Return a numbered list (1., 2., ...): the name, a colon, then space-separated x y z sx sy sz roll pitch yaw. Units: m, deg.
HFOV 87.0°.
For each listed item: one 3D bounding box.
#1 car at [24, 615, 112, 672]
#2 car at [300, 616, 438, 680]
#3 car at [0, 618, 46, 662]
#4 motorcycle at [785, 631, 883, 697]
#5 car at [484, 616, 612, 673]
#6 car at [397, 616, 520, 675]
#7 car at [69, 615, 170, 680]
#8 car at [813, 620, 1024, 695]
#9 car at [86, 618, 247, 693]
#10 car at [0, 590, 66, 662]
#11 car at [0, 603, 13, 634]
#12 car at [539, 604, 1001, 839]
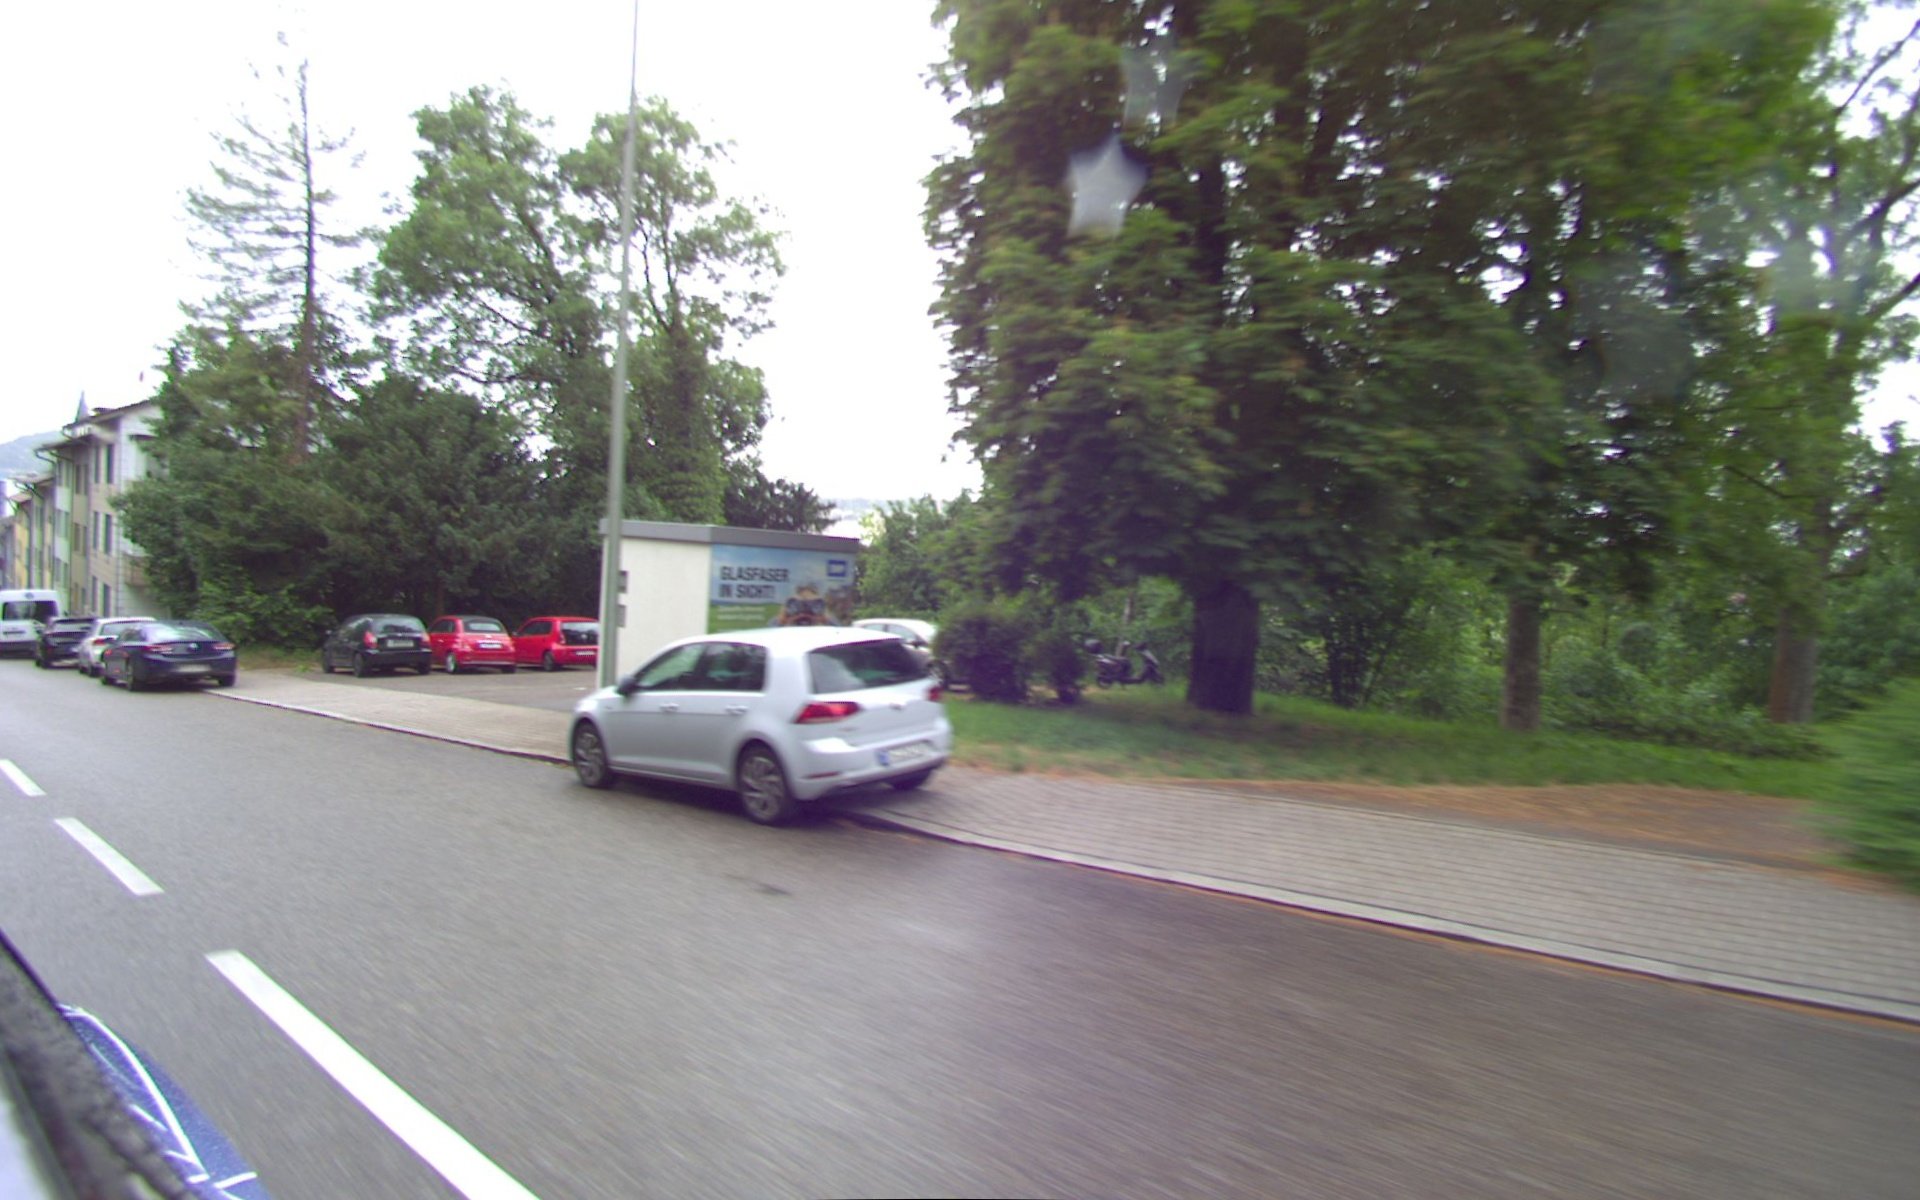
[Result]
1. car: -27.132 1.305 30.741 4.187 1.616 1.626 -1 -4 44
2. car: -14.883 1.144 25.407 4.395 1.470 1.704 -1 -2 42
3. car: -40.131 1.651 42.564 4.883 1.753 1.945 -1 -4 42
4. motorcycle: -2.477 1.217 19.693 2.278 1.198 0.593 -1 -2 44
5. car: -11.533 1.199 28.216 4.240 1.470 1.578 -1 -2 42
6. car: -13.307 1.156 26.787 3.773 1.470 1.604 -1 -2 42
7. car: -22.490 1.230 27.030 4.149 1.581 1.637 -1 -2 44
8. car: -0.957 1.167 21.913 4.390 1.470 1.926 -1 -1 38
9. car: -17.689 1.202 22.471 4.752 1.505 1.840 -1 -5 41
10. car: -35.712 0.992 38.414 5.444 2.570 2.093 -1 -4 43
11. car: -81.257 1.542 85.017 5.444 2.570 2.093 -1 -4 43
12. car: -1.865 0.915 9.129 4.237 1.624 1.866 -1 -4 41
